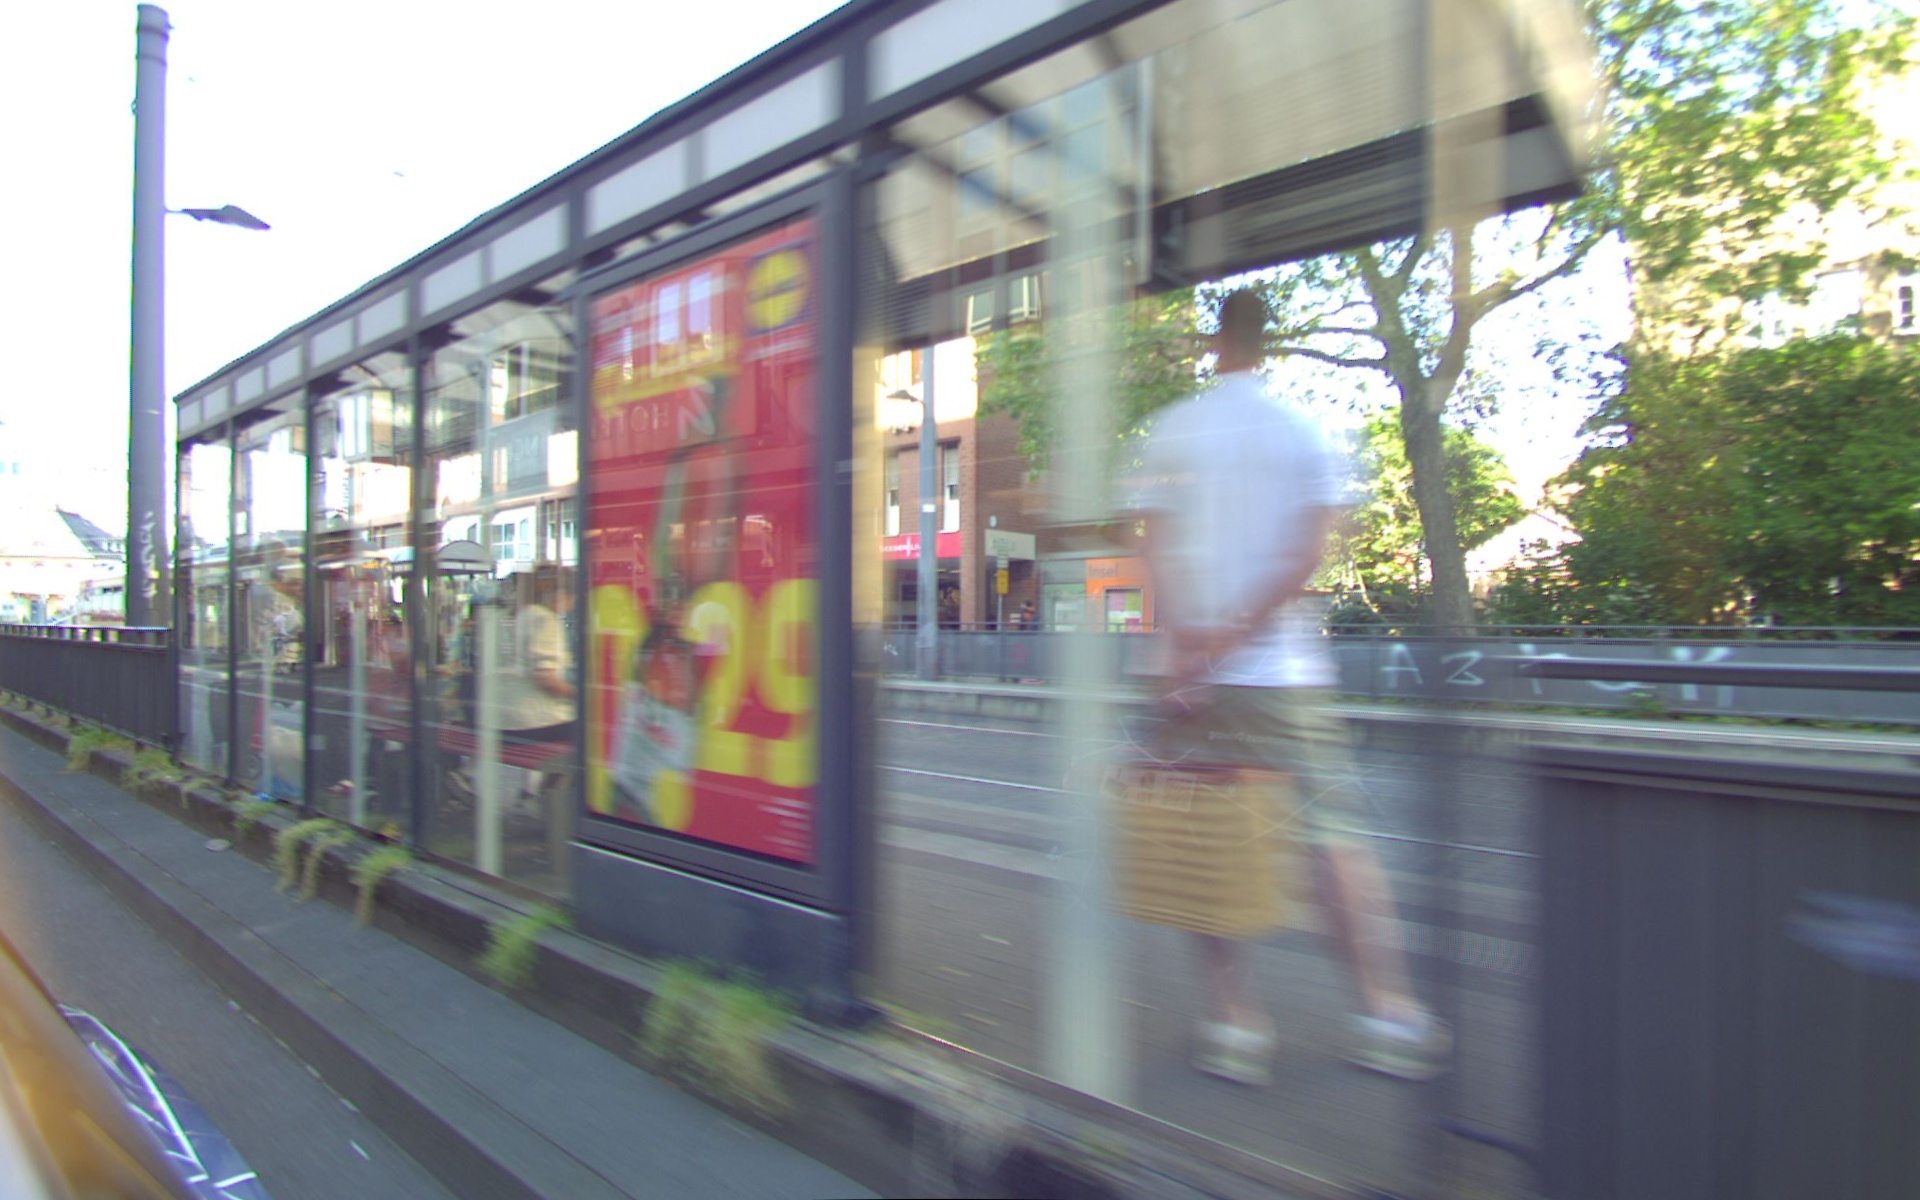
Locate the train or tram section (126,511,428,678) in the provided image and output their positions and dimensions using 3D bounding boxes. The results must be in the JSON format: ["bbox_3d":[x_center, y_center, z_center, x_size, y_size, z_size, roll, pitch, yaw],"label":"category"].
[{"bbox_3d":[-20.083,0.045,28.803,16.475,3.672,2.943,-2,0,41],"label":"train or tram section"}]

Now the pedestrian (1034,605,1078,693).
[{"bbox_3d":[2.161,1.078,22.719,0.665,1.930,0.782,-1,-2,39],"label":"pedestrian"}]

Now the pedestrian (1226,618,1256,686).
[{"bbox_3d":[6.547,1.205,23.582,0.474,1.541,0.577,-1,-1,41],"label":"pedestrian"}]

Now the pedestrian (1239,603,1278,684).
[{"bbox_3d":[7.145,1.017,24.199,0.626,1.896,0.698,-1,-2,44],"label":"pedestrian"}]

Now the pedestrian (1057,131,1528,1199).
[{"bbox_3d":[0.711,0.124,2.156,0.747,1.778,0.683,-1,-1,39],"label":"pedestrian"}]

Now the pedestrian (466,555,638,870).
[{"bbox_3d":[-1.770,0.447,4.407,0.460,1.262,0.535,-1,0,39],"label":"pedestrian"}]

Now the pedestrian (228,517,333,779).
[{"bbox_3d":[-4.341,0.294,6.465,0.592,1.585,0.420,-1,-1,41],"label":"pedestrian"}]

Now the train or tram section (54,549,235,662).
[{"bbox_3d":[-31.487,0.242,38.676,13.936,3.672,2.943,-1,0,41],"label":"train or tram section"}]

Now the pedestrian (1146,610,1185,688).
[{"bbox_3d":[4.911,1.143,24.146,0.648,1.819,0.679,-1,-1,41],"label":"pedestrian"}]

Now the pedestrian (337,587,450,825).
[{"bbox_3d":[-2.921,0.517,5.213,0.460,1.161,0.362,-1,0,40],"label":"pedestrian"}]

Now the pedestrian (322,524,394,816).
[{"bbox_3d":[-3.457,0.376,5.803,0.316,1.584,0.544,-1,0,-34],"label":"pedestrian"}]

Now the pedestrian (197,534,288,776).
[{"bbox_3d":[-4.934,0.363,6.960,0.447,1.585,0.420,-1,-1,41],"label":"pedestrian"}]

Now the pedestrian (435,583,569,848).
[{"bbox_3d":[-2.143,0.503,4.732,0.460,1.161,0.404,-1,0,40],"label":"pedestrian"}]
